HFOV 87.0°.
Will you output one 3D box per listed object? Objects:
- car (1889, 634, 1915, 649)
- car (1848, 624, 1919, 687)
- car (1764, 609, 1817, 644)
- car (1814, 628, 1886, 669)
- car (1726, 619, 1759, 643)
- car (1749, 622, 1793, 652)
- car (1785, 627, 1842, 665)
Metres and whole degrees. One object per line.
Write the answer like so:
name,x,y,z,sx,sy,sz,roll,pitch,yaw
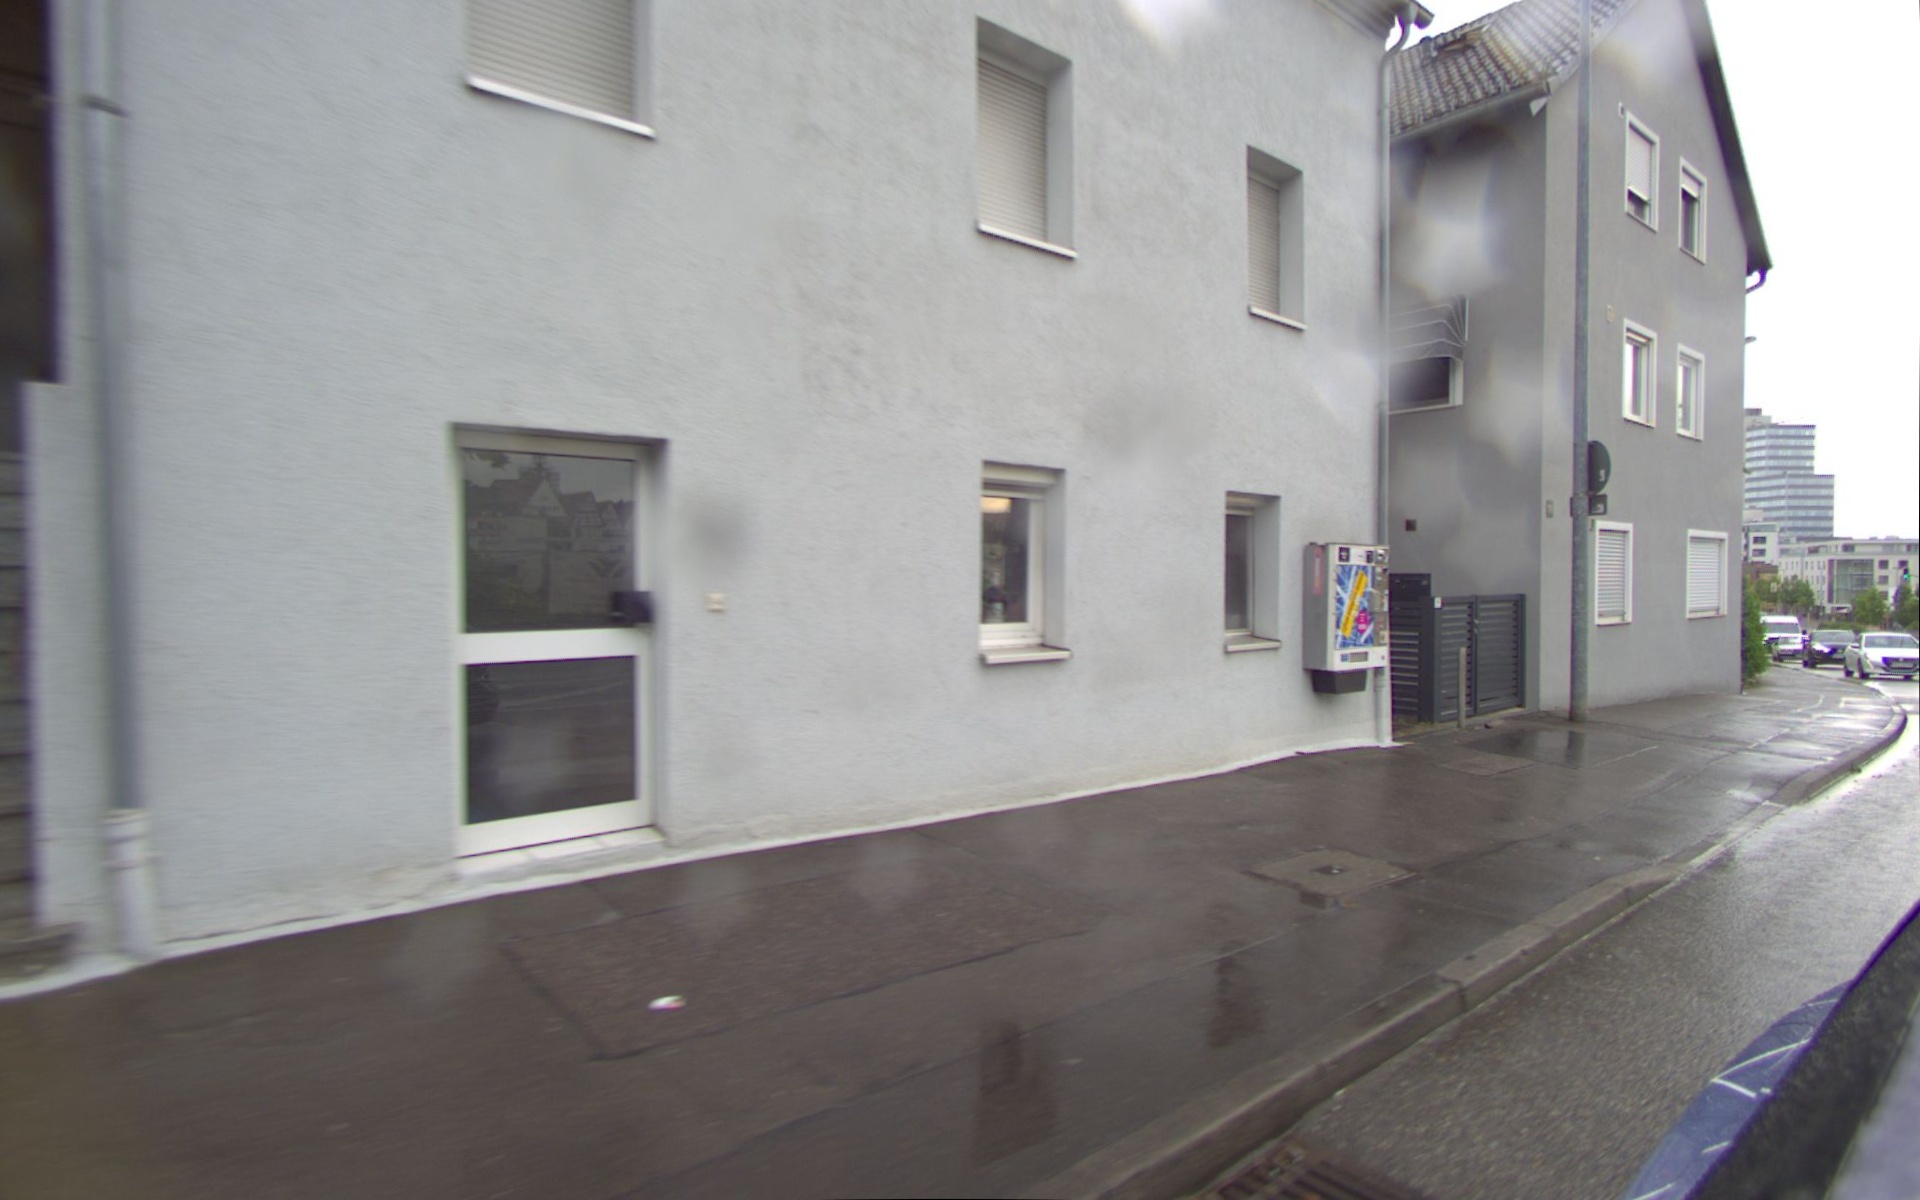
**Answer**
car,108.357,4.738,116.404,1.810,1.534,3.945,1,-1,38
car,29.637,1.693,31.881,1.889,1.680,4.882,-4,-2,35
car,49.559,1.615,60.498,2.018,1.961,4.881,0,-2,35
car,36.429,1.967,41.528,1.892,1.516,4.875,1,-2,38
car,67.710,2.661,87.628,2.018,1.961,4.881,0,-2,35
car,57.024,2.615,71.230,2.018,1.961,4.881,0,-2,35
car,42.429,2.298,50.401,1.891,1.746,4.403,0,-2,37
